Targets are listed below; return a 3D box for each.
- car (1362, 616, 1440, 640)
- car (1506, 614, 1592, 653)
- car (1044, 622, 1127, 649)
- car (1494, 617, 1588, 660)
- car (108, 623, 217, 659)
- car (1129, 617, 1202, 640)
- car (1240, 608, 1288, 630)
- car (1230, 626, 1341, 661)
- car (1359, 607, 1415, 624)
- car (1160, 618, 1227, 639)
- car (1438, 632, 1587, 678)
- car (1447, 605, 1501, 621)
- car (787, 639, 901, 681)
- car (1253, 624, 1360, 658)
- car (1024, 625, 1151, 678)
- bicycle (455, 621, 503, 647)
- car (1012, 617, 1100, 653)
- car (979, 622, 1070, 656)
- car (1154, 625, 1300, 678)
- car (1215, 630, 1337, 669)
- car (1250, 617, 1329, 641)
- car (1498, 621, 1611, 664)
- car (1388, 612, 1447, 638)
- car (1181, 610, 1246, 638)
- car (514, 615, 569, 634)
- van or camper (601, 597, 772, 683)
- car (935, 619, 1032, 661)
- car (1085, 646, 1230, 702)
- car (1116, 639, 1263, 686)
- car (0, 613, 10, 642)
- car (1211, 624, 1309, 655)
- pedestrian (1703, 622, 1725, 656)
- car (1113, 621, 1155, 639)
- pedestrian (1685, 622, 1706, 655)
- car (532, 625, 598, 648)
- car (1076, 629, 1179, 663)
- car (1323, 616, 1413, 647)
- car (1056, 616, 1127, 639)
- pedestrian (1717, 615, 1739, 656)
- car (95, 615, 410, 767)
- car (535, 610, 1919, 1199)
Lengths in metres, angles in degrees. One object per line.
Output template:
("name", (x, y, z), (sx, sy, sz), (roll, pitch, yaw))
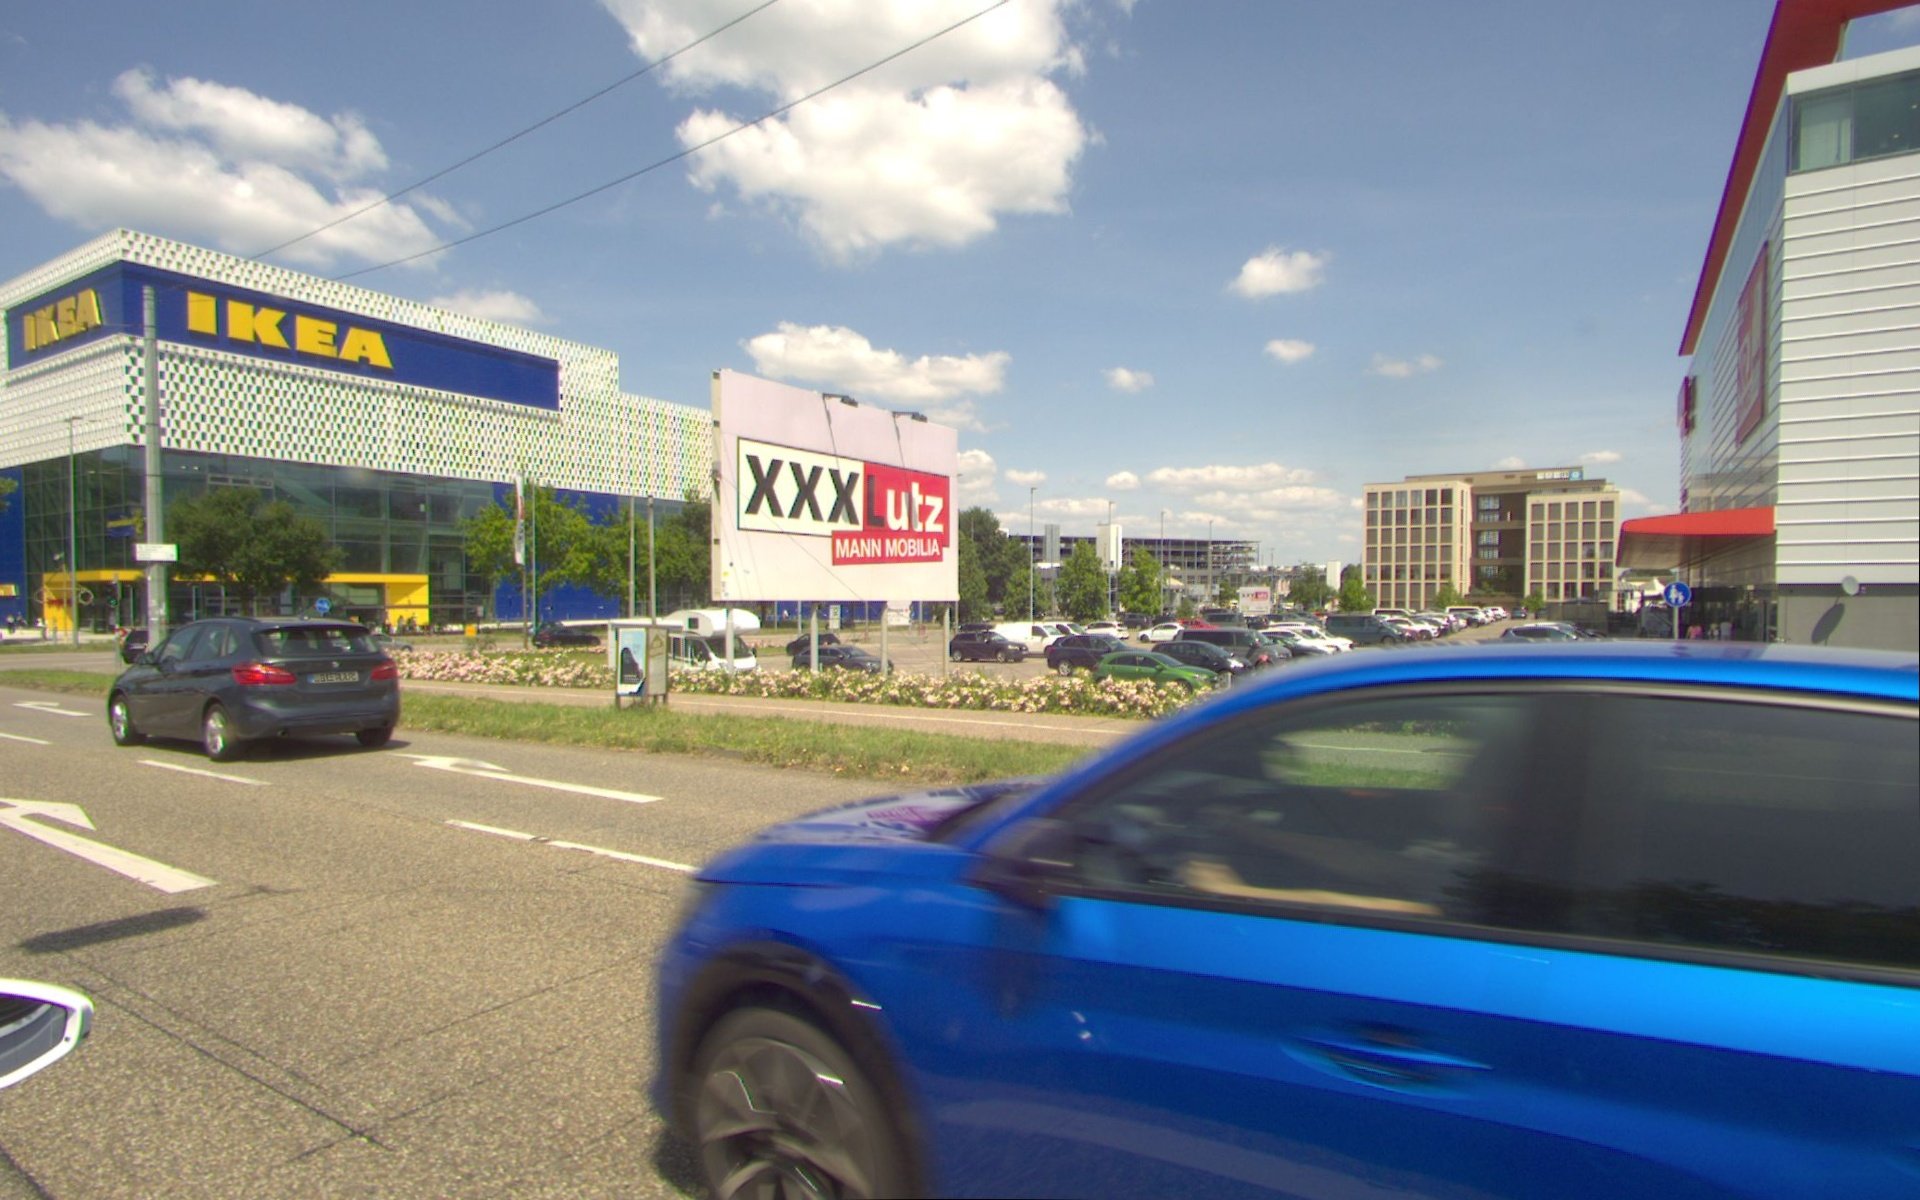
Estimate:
("car", (31.708, 2.002, 71.994), (4.929, 1.631, 1.990), (-1, -1, 33))
("car", (31.788, 1.778, 54.078), (3.943, 2.040, 1.990), (0, -1, 32))
("car", (8.027, 2.239, 64.173), (4.929, 1.631, 1.990), (-1, -1, 33))
("car", (28.760, 1.865, 49.580), (3.943, 2.040, 1.990), (-1, -1, 32))
("car", (-36.341, 1.859, 45.792), (1.961, 1.505, 4.001), (1, -2, -5))
("car", (15.201, 2.103, 74.221), (4.929, 1.631, 1.990), (-1, -1, 33))
("car", (28.598, 1.815, 94.202), (3.943, 2.040, 1.990), (-1, -1, 32))
("car", (16.098, 2.122, 49.627), (4.929, 1.631, 1.990), (-1, -1, 33))
("car", (42.548, 1.548, 99.794), (4.929, 1.631, 1.990), (-1, -1, 33))
("car", (18.779, 2.258, 80.689), (4.929, 1.631, 1.990), (-1, -1, 33))
("car", (21.282, 2.073, 38.647), (4.929, 1.631, 1.990), (-1, -1, 33))
("car", (53.636, 1.343, 104.556), (4.929, 1.631, 1.990), (-1, -1, 33))
("car", (-5.014, 2.538, 43.177), (4.701, 1.558, 1.989), (-1, 1, 33))
("car", (17.890, 2.091, 51.792), (4.929, 1.672, 1.990), (-1, -1, 33))
("car", (5.312, 2.107, 42.082), (4.929, 2.041, 1.989), (0, 1, 33))
("bicycle", (-28.540, 1.988, 59.468), (0.976, 1.500, 2.415), (0, -1, 37))
("car", (5.720, 2.073, 59.910), (4.929, 2.033, 1.990), (0, -1, 33))
("car", (3.718, 2.231, 58.134), (4.929, 1.876, 1.990), (0, -1, 33))
("car", (10.921, 2.048, 41.128), (5.456, 2.040, 1.990), (0, -1, 33))
("car", (14.203, 2.194, 45.119), (4.929, 1.631, 1.990), (-1, -1, 33))
("car", (22.864, 2.017, 69.575), (4.929, 1.631, 1.990), (-1, -1, 33))
("car", (26.448, 1.865, 44.625), (4.271, 1.804, 1.990), (0, -2, 33))
("car", (35.825, 1.948, 78.414), (3.943, 2.040, 1.990), (-1, -1, 32))
("car", (21.441, 2.014, 84.769), (4.929, 2.333, 1.990), (0, -1, 33))
("car", (-35.111, 2.026, 84.071), (1.974, 1.505, 3.779), (0, -2, 36))
("van or camper", (-10.643, 1.485, 38.604), (7.129, 3.059, 2.499), (-1, -1, 36))
("car", (1.255, 2.096, 53.868), (4.929, 2.162, 1.990), (0, -1, 33))
("car", (6.467, 2.377, 32.845), (4.242, 1.517, 1.988), (0, 2, 33))
("car", (8.454, 2.257, 37.009), (4.929, 1.570, 1.990), (-1, -1, 33))
("car", (-52.271, 1.390, 51.642), (1.973, 1.505, 4.486), (0, -2, 36))
("car", (16.770, 2.194, 56.012), (4.928, 1.631, 1.990), (0, -1, 32))
("pedestrian", (35.007, 1.815, 46.474), (0.725, 1.578, 0.739), (0, -1, 30))
("car", (18.146, 3.079, 104.403), (3.943, 1.863, 1.819), (-1, -1, 32))
("pedestrian", (34.967, 1.832, 47.631), (0.725, 1.578, 0.739), (0, -1, 30))
("car", (-27.348, 2.494, 69.411), (1.712, 1.508, 3.977), (0, -1, 34))
("car", (8.673, 2.356, 52.068), (4.929, 1.632, 1.989), (-1, 0, 33))
("car", (25.967, 1.969, 63.805), (5.106, 1.889, 1.991), (0, -1, 31))
("car", (9.781, 2.014, 74.480), (4.921, 1.631, 1.993), (0, -1, 27))
("pedestrian", (36.042, 1.677, 46.992), (0.725, 1.893, 0.739), (0, -1, 30))
("car", (-8.560, 0.956, 12.037), (4.042, 1.546, 1.757), (0, -1, 33))
("car", (1.016, 0.791, 2.404), (3.943, 1.473, 1.834), (0, -2, 33))
